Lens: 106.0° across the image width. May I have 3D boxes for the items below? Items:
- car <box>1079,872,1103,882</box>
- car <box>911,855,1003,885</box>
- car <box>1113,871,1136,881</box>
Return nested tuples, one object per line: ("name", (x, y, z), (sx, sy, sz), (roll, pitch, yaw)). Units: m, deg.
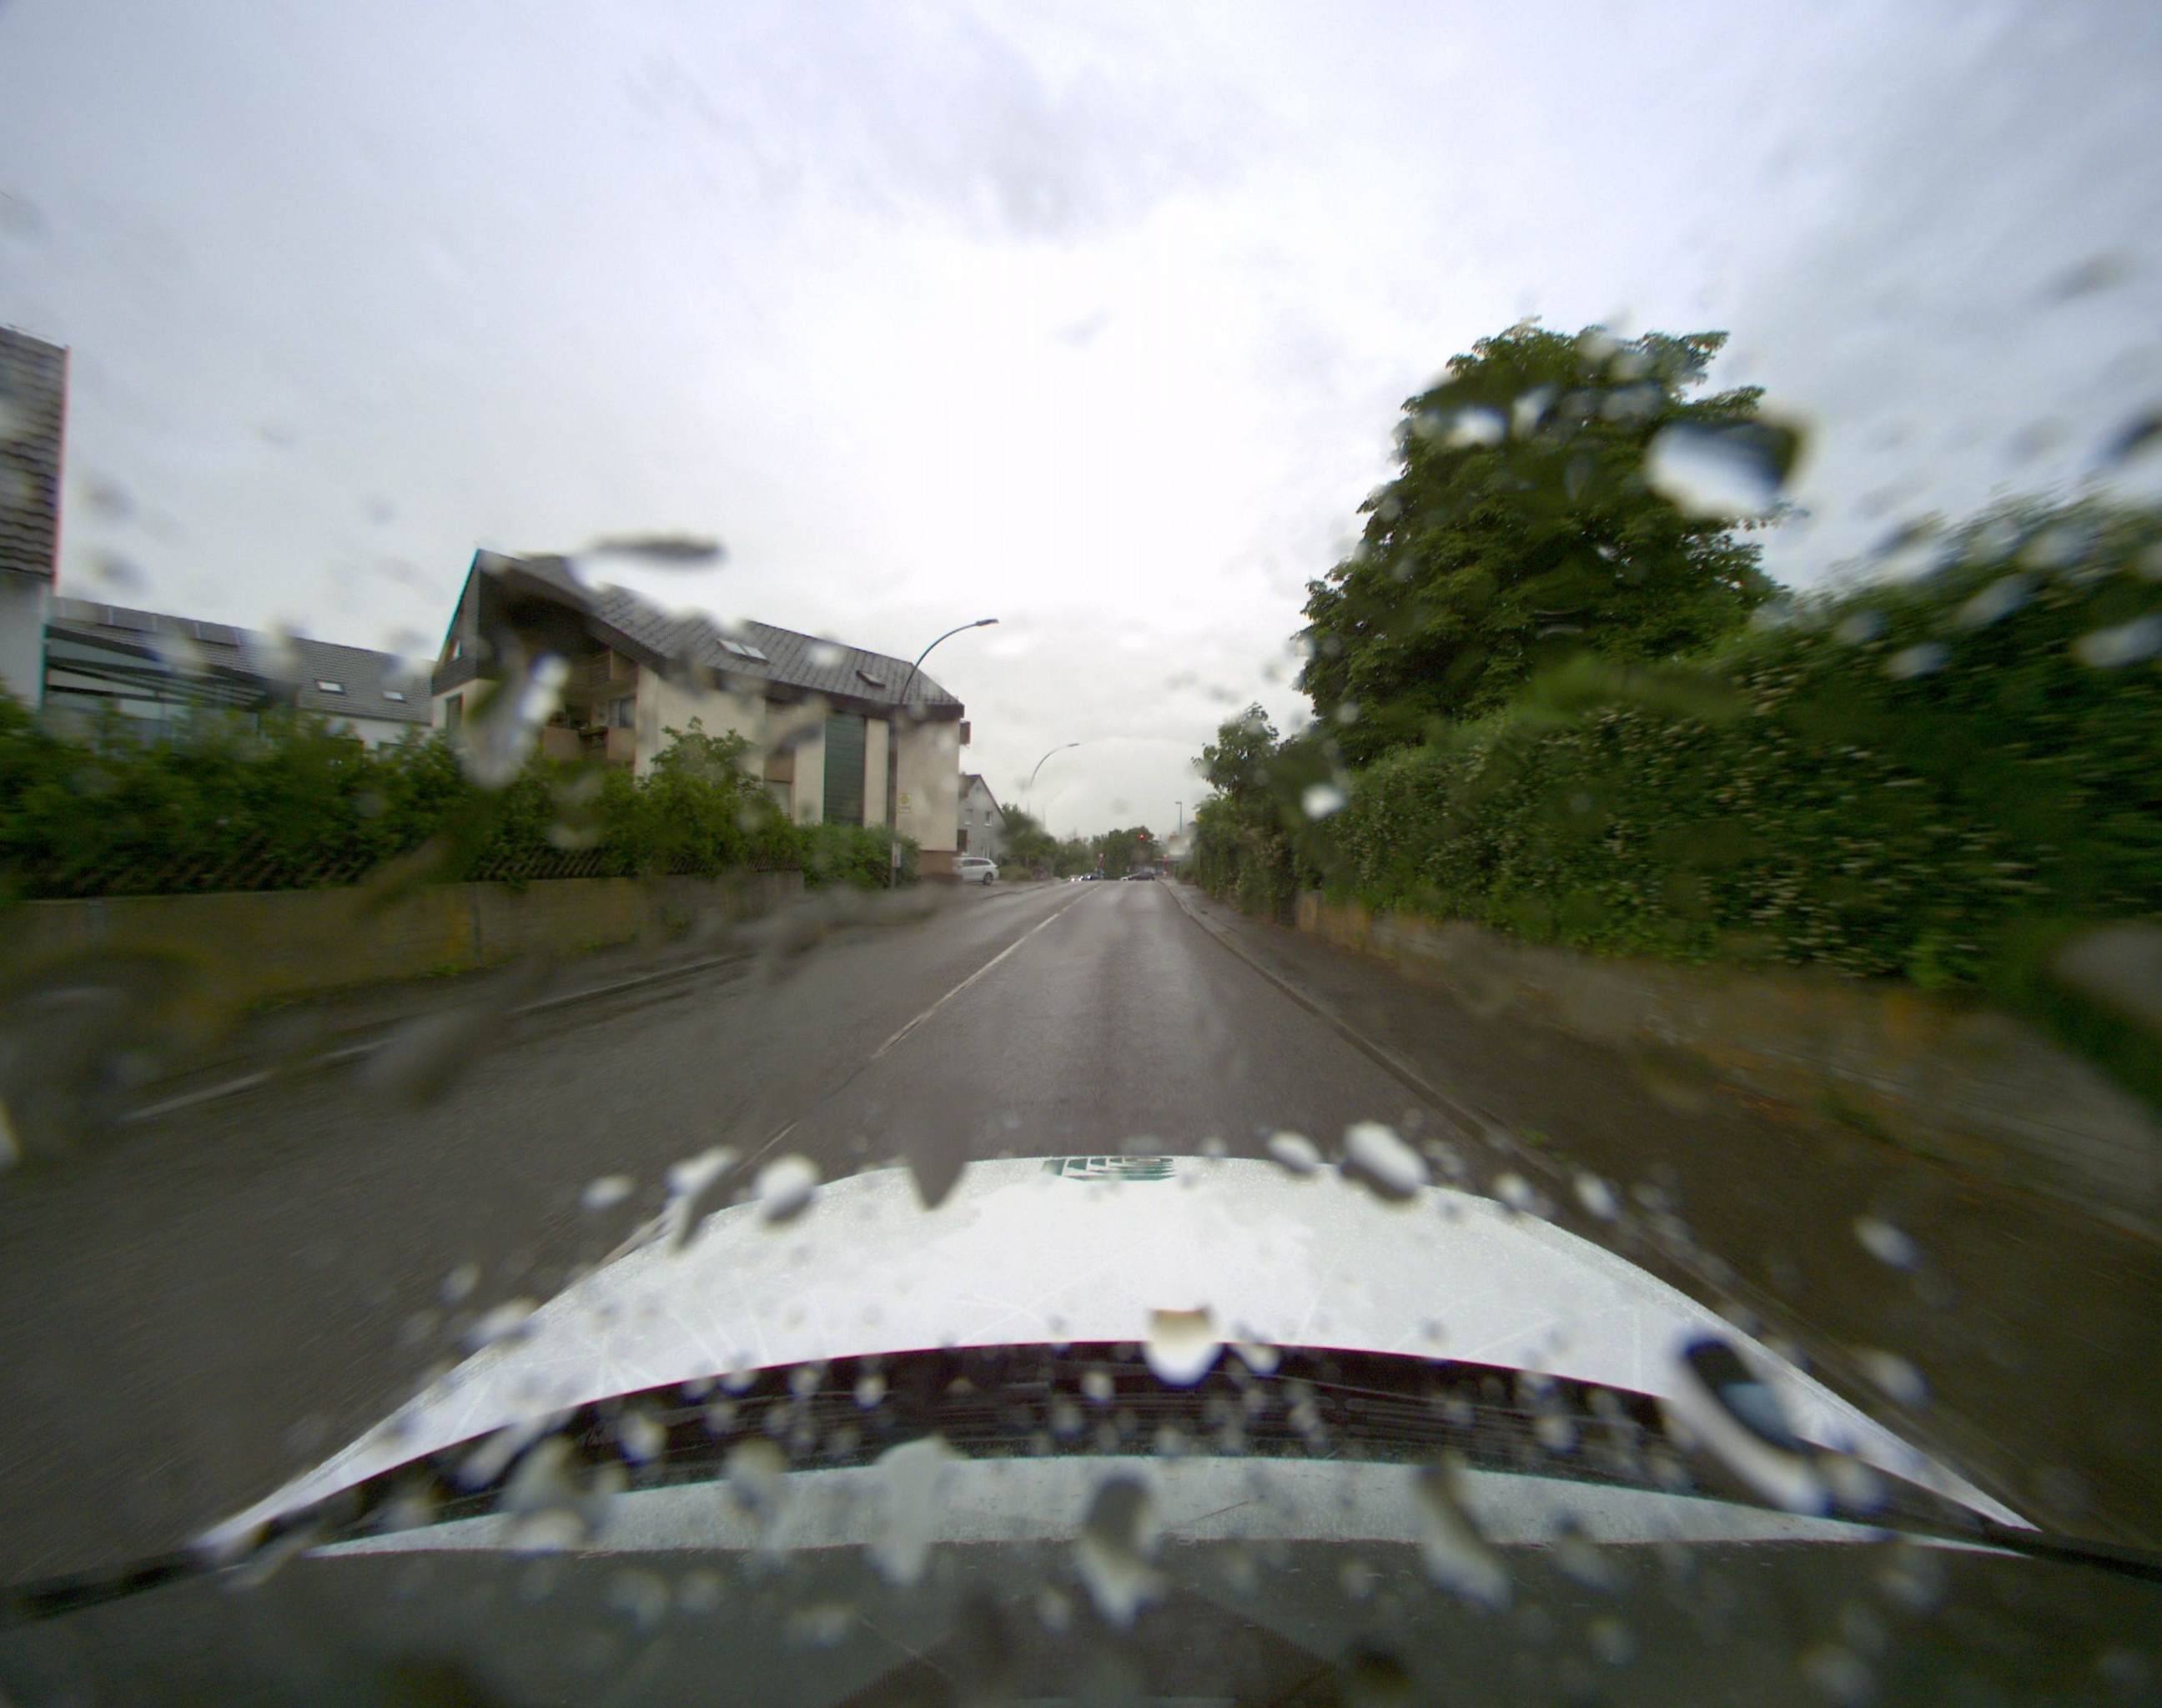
("car", (1.594, 3.581, 127.467), (1.787, 1.524, 4.025), (0, -1, 36))
("car", (-6.632, 0.826, 44.084), (1.883, 1.477, 4.912), (2, 0, 37))
("car", (7.771, 3.950, 144.510), (3.967, 1.617, 1.947), (-1, 1, 5))
